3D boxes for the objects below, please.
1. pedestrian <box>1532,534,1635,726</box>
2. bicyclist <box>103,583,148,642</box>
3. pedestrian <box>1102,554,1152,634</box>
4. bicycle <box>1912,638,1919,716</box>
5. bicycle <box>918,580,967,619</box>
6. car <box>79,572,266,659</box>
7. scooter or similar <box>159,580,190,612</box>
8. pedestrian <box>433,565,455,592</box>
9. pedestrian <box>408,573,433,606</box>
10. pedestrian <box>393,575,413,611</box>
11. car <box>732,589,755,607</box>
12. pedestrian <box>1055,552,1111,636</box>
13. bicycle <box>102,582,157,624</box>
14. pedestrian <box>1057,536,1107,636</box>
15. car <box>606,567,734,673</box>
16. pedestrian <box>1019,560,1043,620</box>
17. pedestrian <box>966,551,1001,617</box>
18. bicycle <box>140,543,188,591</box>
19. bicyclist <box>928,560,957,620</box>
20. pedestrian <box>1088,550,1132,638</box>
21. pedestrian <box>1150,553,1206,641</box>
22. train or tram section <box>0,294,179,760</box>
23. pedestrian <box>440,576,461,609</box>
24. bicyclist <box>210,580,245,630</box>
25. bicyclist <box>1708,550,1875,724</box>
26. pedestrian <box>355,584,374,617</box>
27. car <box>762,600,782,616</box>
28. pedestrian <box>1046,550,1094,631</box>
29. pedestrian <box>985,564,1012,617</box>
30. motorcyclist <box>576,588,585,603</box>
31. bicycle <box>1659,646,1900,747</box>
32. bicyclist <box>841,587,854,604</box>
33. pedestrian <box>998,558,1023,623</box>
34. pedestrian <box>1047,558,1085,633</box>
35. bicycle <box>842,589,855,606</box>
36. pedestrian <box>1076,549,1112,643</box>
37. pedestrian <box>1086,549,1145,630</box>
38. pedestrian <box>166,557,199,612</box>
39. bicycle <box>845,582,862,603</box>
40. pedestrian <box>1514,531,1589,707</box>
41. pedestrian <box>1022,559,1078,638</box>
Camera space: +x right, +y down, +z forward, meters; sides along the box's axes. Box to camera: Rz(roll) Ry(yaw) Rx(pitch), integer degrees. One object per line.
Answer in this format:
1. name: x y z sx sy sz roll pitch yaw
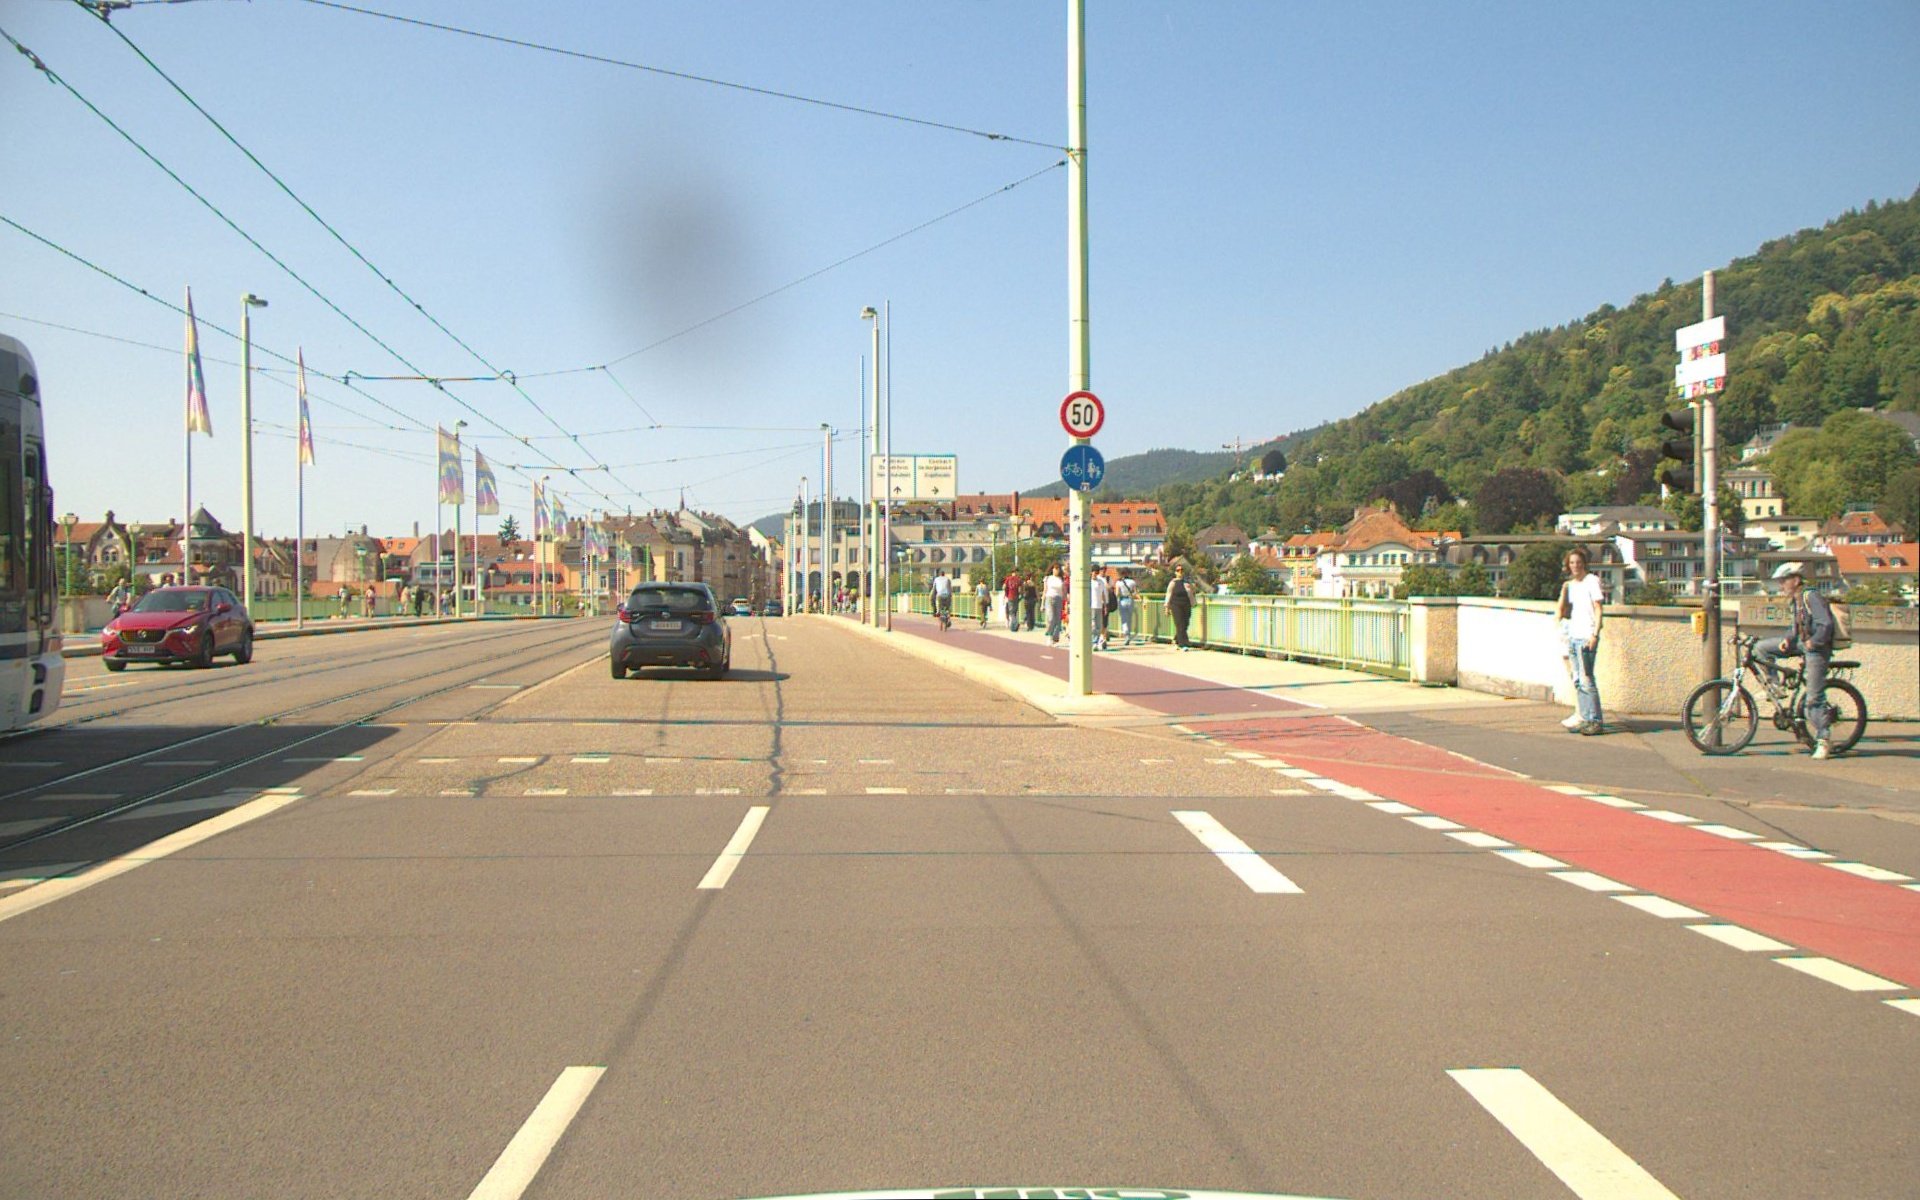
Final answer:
1. pedestrian: 6.239 0.289 16.572 0.758 1.888 0.644 0 1 -5
2. bicyclist: -23.812 0.350 47.222 0.860 1.637 0.771 -2 2 -6
3. pedestrian: 3.589 -0.127 35.661 0.819 1.706 0.882 0 0 -13
4. bicycle: 11.345 0.854 17.804 1.900 0.841 0.565 1 1 -3
5. bicycle: -0.545 -0.025 49.713 0.778 1.115 3.734 -1 0 -12
6. car: -14.949 0.267 31.665 1.955 1.541 4.184 0 0 -6
7. scooter or similar: -27.156 -0.137 57.176 0.725 1.047 0.831 3 0 -10
8. pedestrian: -33.086 -1.380 106.082 1.076 1.759 1.294 1 1 -5
9. pedestrian: -30.156 -0.587 92.443 1.077 1.789 1.292 1 1 -10
10. pedestrian: -31.395 -0.408 93.266 0.952 2.049 1.098 0 0 -13
11. car: -19.256 -0.162 147.163 1.771 1.494 3.990 -2 0 -10
12. pedestrian: 2.639 -0.139 35.647 0.968 1.781 0.927 0 0 -13
13. bicycle: -23.813 0.075 47.445 0.744 1.133 1.918 2 2 -6
14. pedestrian: 2.548 -0.291 34.642 0.789 2.049 0.951 0 0 -13
15. car: -4.646 0.273 26.625 1.875 1.567 3.991 0 1 -10
16. pedestrian: 2.016 -0.282 47.014 0.514 1.678 0.697 0 0 -14
17. pedestrian: 0.736 -0.506 51.729 0.859 2.049 1.056 0 0 -13
18. bicycle: -24.616 -1.009 51.151 0.692 1.424 2.158 3 0 -10
19. bicyclist: -0.537 -0.304 49.662 0.661 1.774 1.147 -1 0 -12
20. pedestrian: 2.997 -0.115 33.145 0.683 1.746 0.729 0 0 -13
21. pedestrian: 4.191 -0.064 31.872 0.785 1.663 0.946 -1 0 -13
22. train or tram section: -8.912 -0.553 11.615 2.423 3.843 11.834 -1 1 -6
23. pedestrian: -32.126 -0.477 104.343 1.077 2.049 1.292 0 0 -10
24. bicyclist: -24.451 0.158 55.209 0.860 1.637 0.770 0 0 -8
25. bicyclist: 7.450 0.317 14.856 1.058 1.499 0.800 1 1 -3
26. pedestrian: -32.002 0.010 88.912 0.740 1.752 1.173 0 -1 -10
27. car: -18.715 0.775 164.605 1.769 1.494 3.996 -2 0 -5
28. pedestrian: 2.734 -0.245 41.212 0.996 1.988 0.937 0 0 -10
29. pedestrian: 1.172 -0.303 50.741 0.638 1.589 0.690 -2 1 -13
30. motorcyclist: -39.724 -0.437 173.094 0.785 1.576 1.067 0 0 -8
31. bicycle: 7.340 0.861 14.849 1.900 0.841 0.565 1 1 -3
32. bicyclist: -7.076 -0.260 103.905 0.721 1.048 1.173 0 0 -9
33. pedestrian: 1.423 -0.258 46.940 0.575 1.825 0.630 0 0 -13
34. pedestrian: 2.416 -0.109 37.696 0.643 1.678 0.865 0 0 -13
35. bicycle: -7.001 -0.171 103.964 0.607 1.056 2.047 0 0 -9
36. pedestrian: 2.627 -0.079 32.503 0.539 1.830 0.644 0 0 -13
37. pedestrian: 3.538 -0.240 37.650 0.968 1.800 1.250 -1 1 -13
38. pedestrian: -27.283 -0.557 58.075 0.725 1.886 0.973 3 0 -10
39. bicycle: -6.266 -0.449 97.087 0.682 1.214 2.073 -1 0 -11
40. pedestrian: 6.129 0.192 17.152 0.523 1.791 0.576 0 1 -4
41. pedestrian: 1.892 -0.032 34.805 0.968 1.643 0.918 0 0 -13
